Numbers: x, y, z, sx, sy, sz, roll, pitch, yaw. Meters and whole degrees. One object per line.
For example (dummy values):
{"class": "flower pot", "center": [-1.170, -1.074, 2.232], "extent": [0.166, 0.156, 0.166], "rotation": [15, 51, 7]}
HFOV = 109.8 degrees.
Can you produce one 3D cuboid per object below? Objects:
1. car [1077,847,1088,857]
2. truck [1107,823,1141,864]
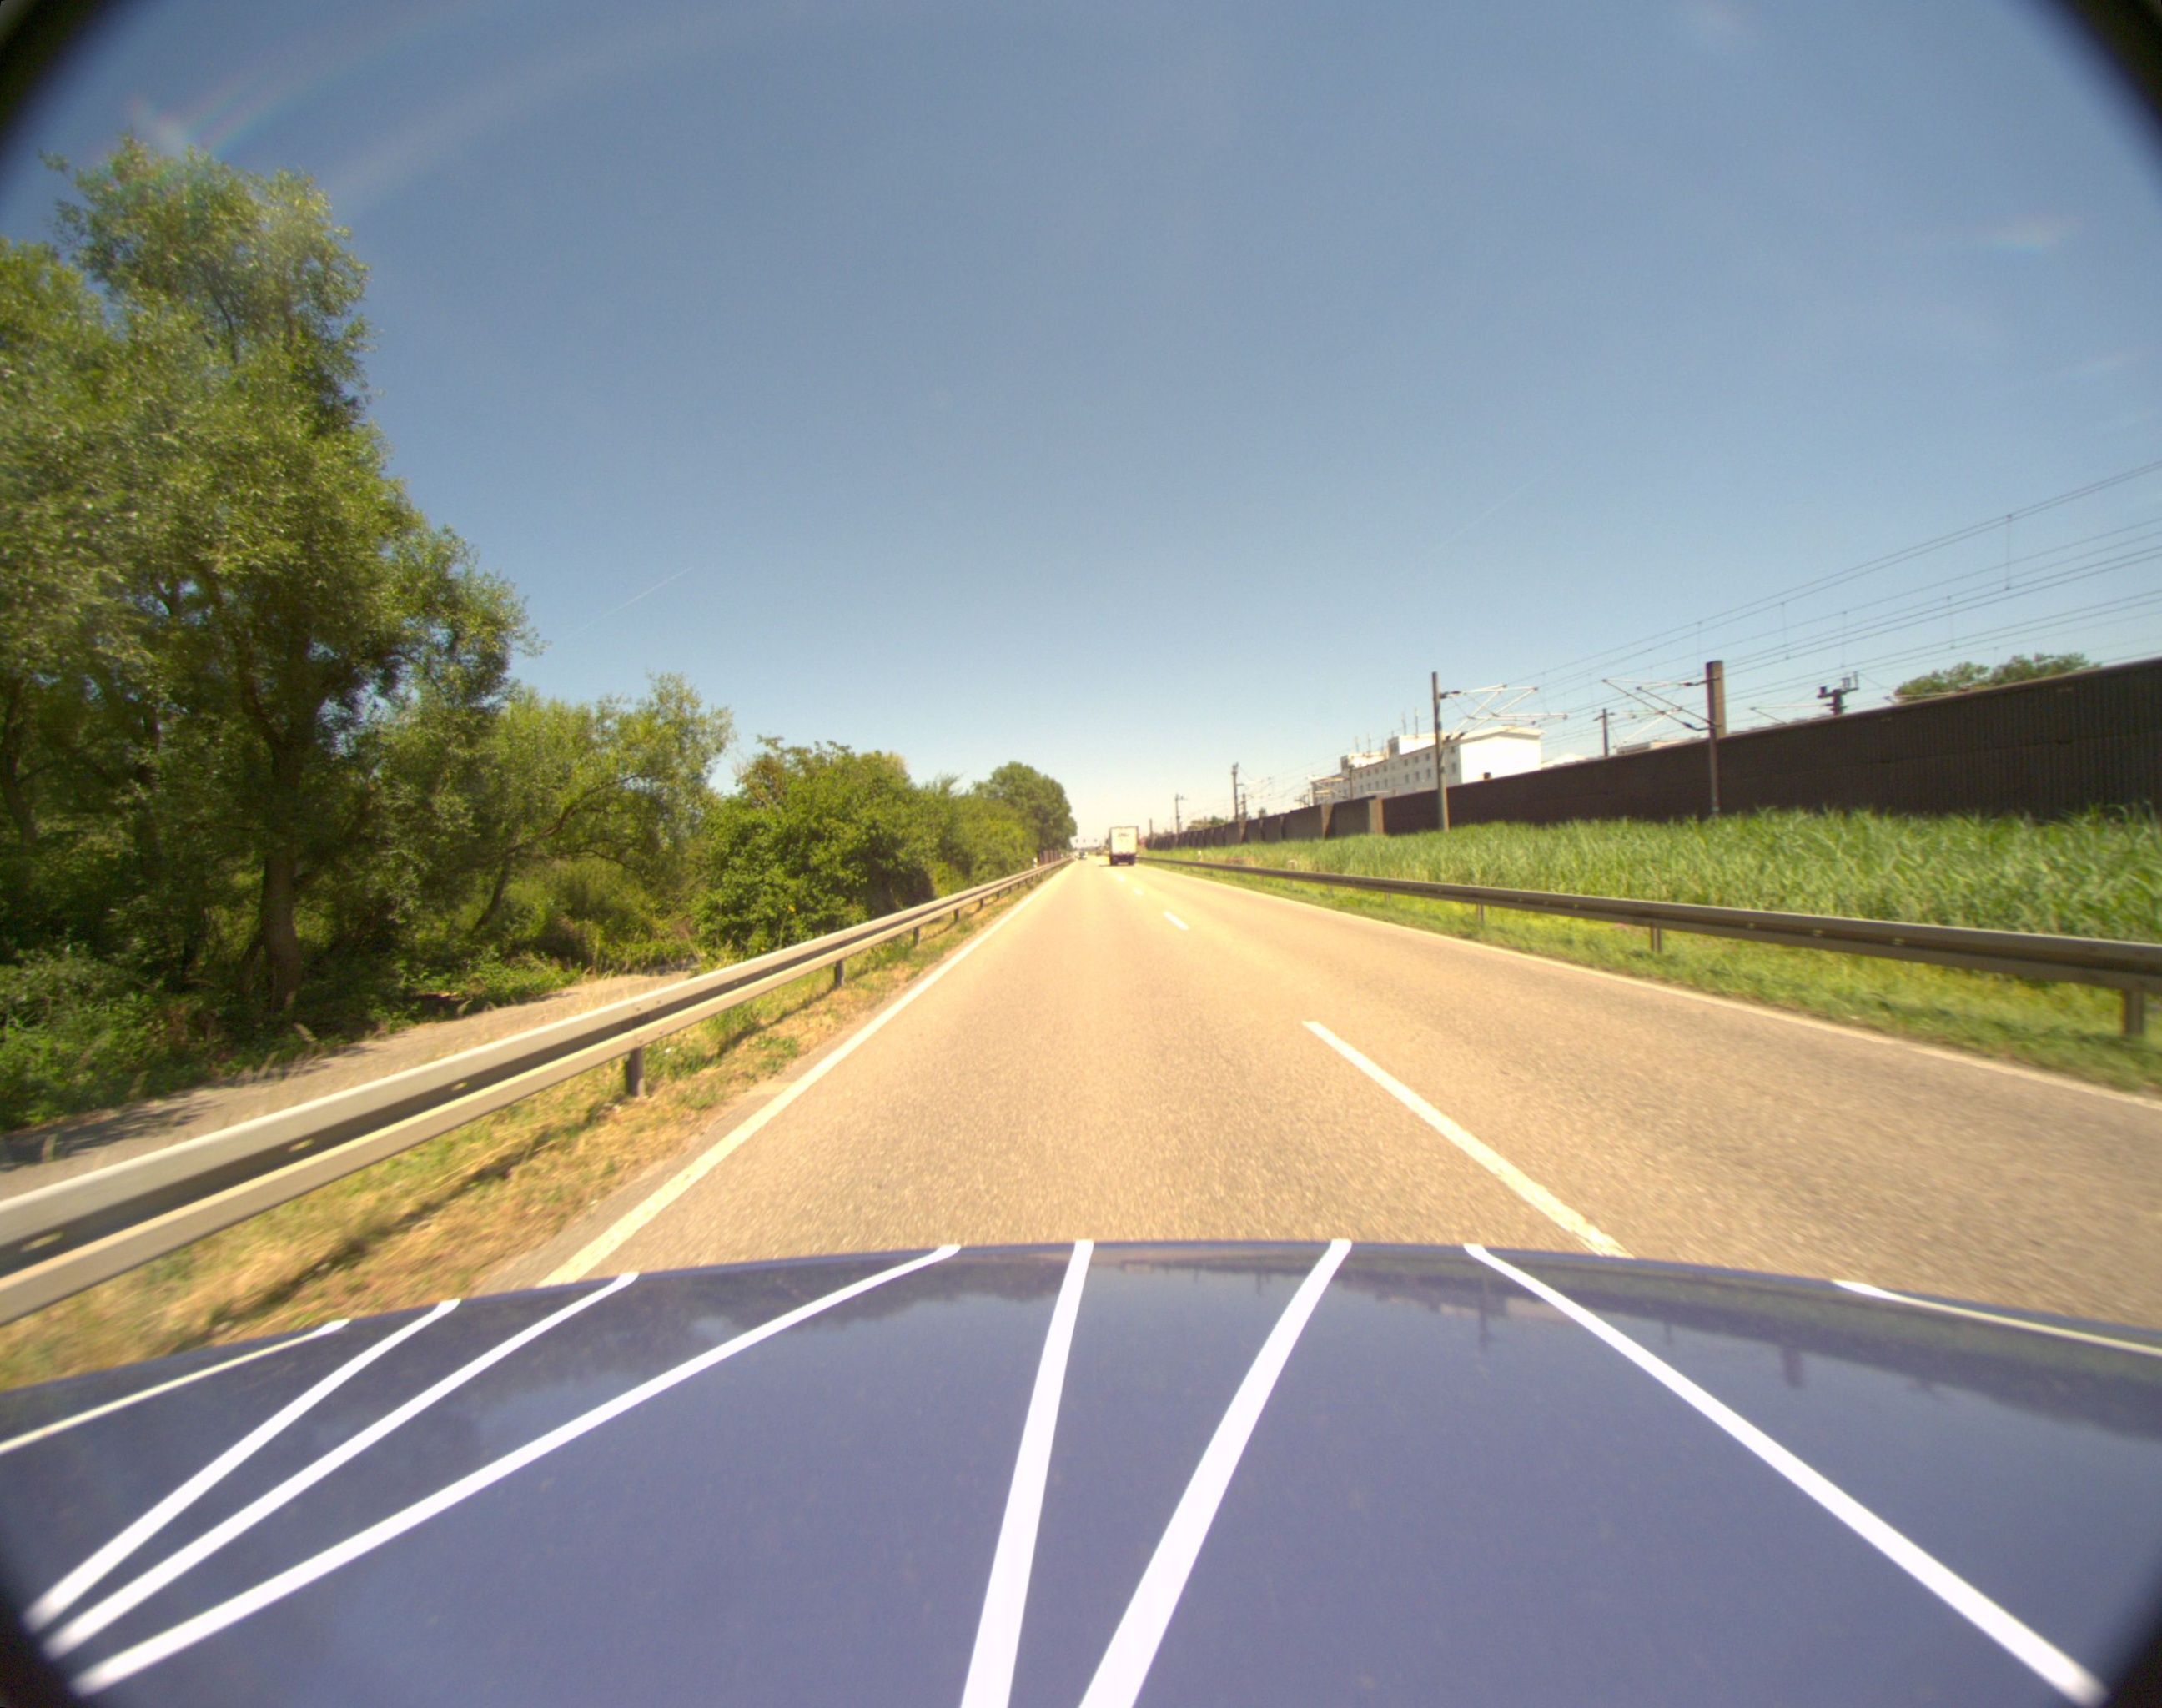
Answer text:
{"class": "car", "center": [0.298, -0.403, 155.309], "extent": [1.999, 2.002, 3.999], "rotation": [-2, 1, -1]}
{"class": "truck", "center": [4.530, -1.099, 82.084], "extent": [2.804, 3.955, 10.498], "rotation": [-3, 0, -1]}
